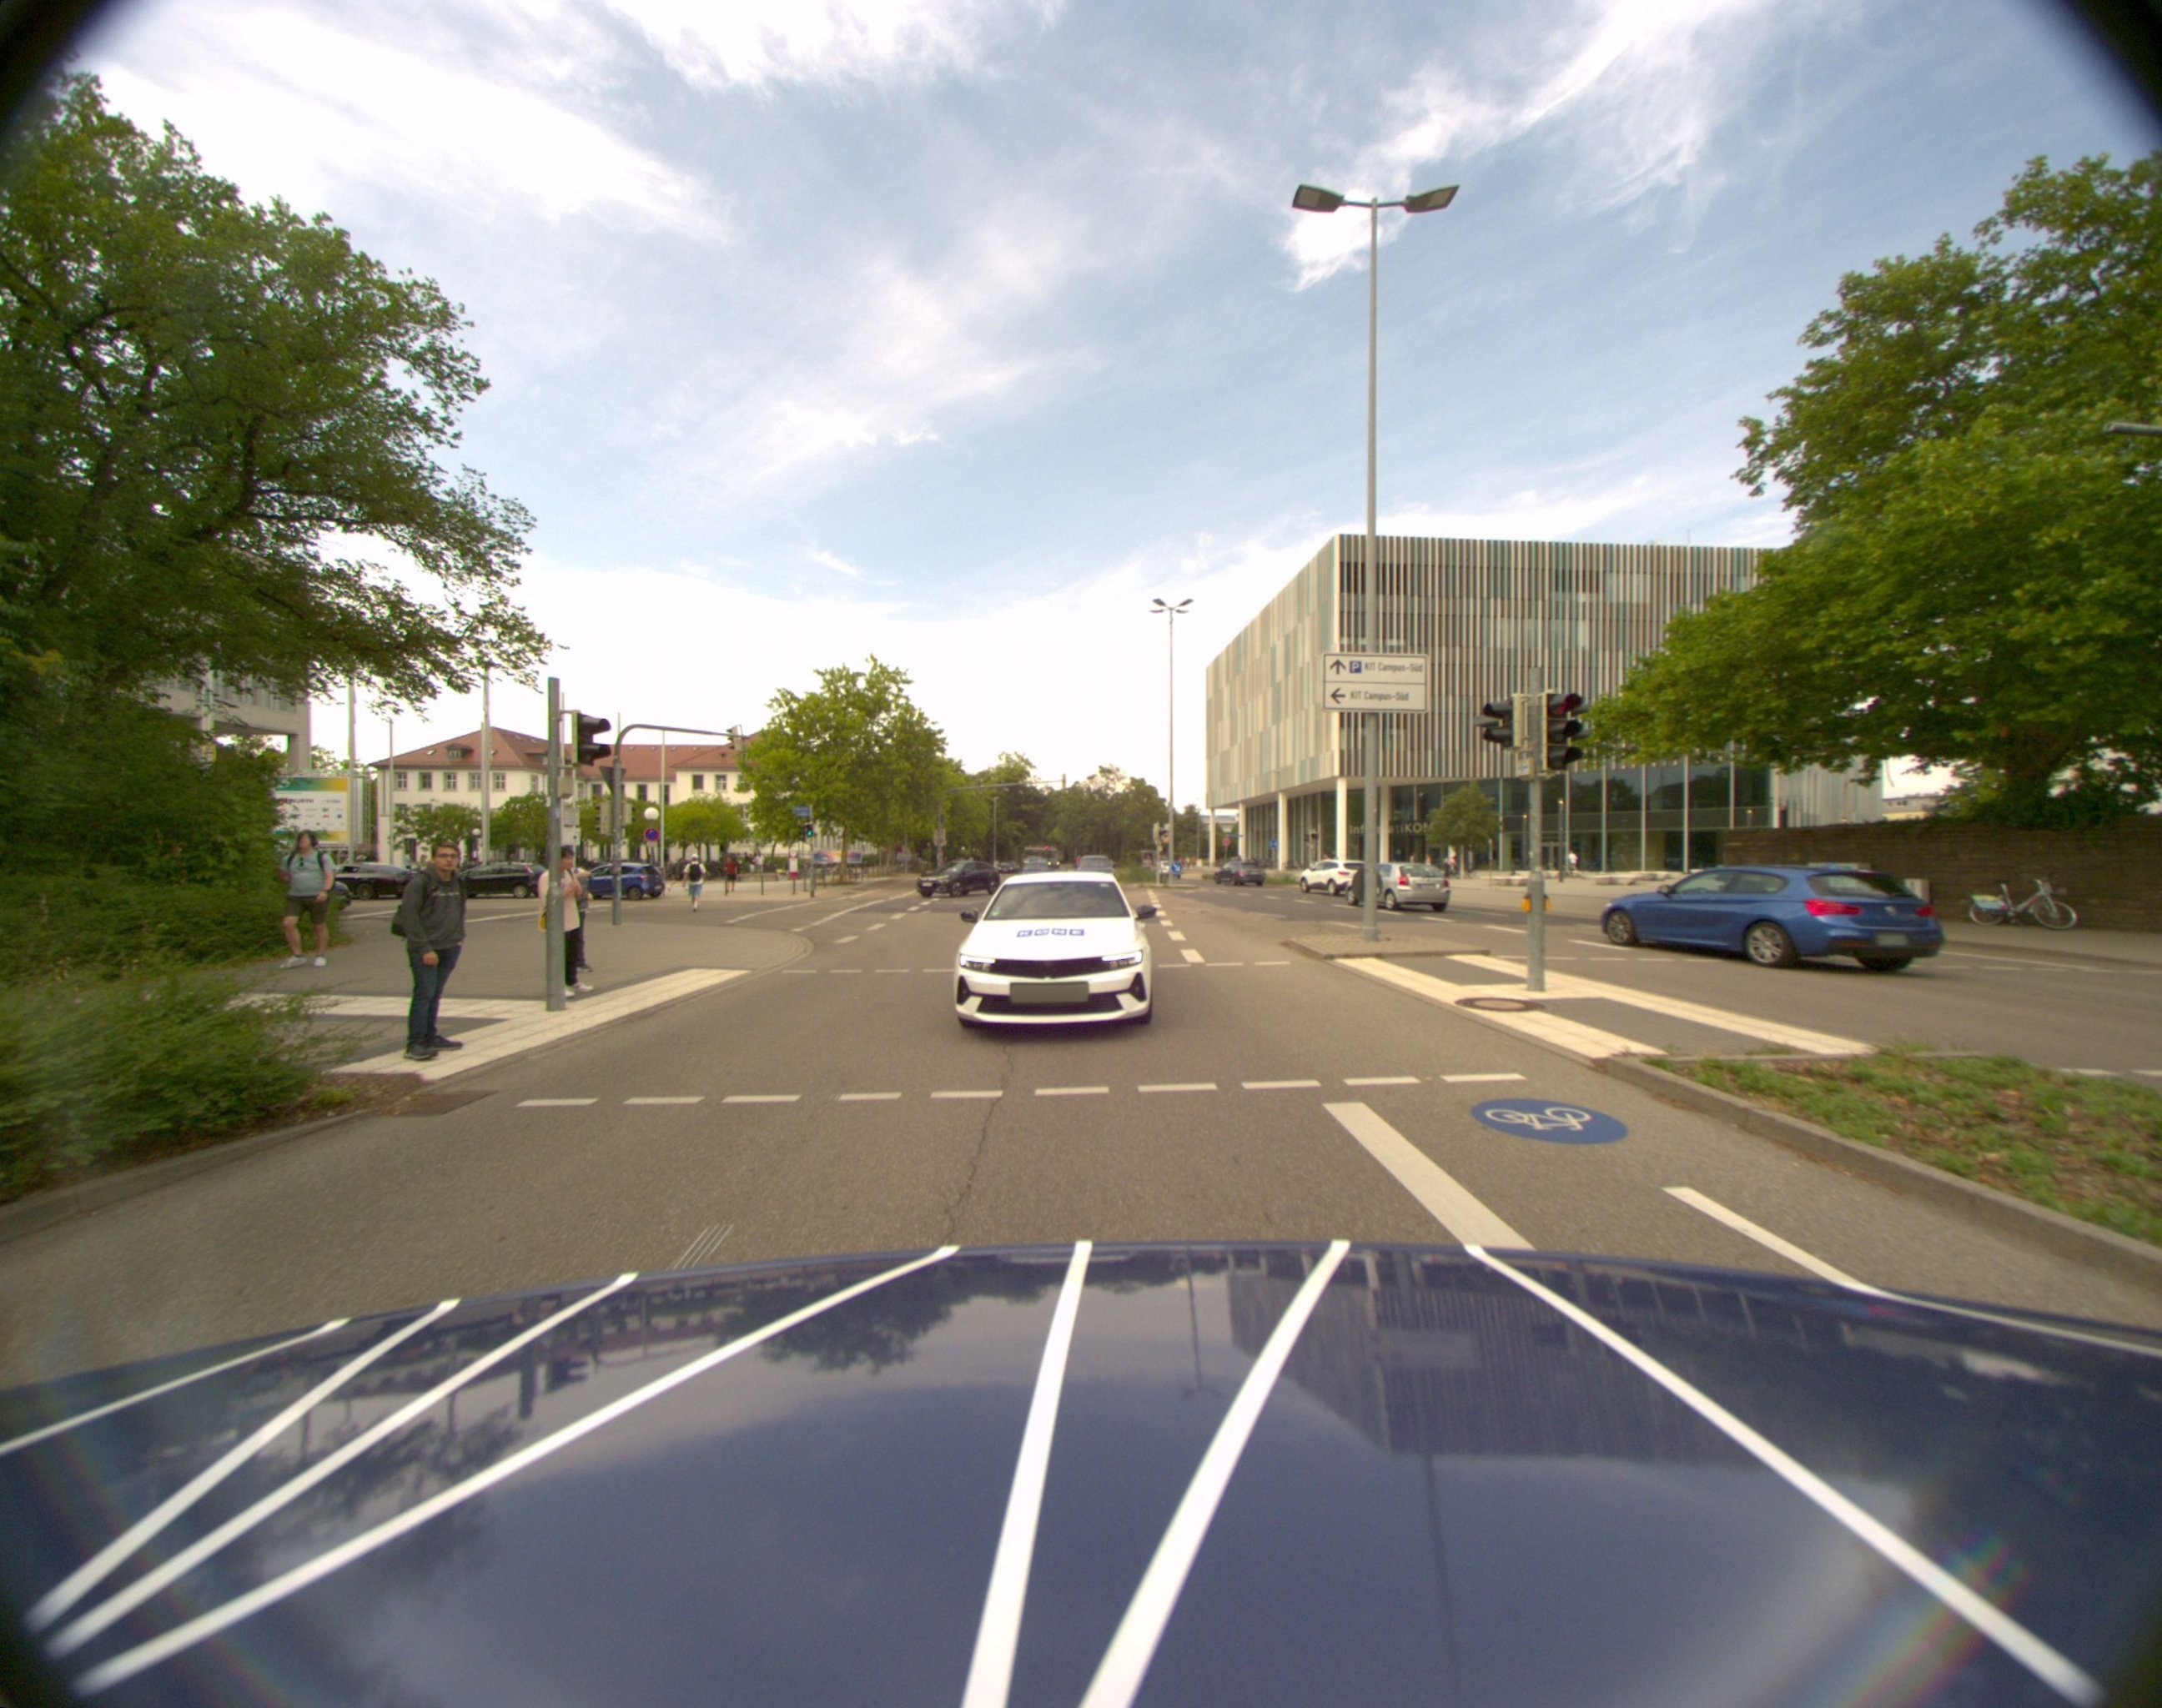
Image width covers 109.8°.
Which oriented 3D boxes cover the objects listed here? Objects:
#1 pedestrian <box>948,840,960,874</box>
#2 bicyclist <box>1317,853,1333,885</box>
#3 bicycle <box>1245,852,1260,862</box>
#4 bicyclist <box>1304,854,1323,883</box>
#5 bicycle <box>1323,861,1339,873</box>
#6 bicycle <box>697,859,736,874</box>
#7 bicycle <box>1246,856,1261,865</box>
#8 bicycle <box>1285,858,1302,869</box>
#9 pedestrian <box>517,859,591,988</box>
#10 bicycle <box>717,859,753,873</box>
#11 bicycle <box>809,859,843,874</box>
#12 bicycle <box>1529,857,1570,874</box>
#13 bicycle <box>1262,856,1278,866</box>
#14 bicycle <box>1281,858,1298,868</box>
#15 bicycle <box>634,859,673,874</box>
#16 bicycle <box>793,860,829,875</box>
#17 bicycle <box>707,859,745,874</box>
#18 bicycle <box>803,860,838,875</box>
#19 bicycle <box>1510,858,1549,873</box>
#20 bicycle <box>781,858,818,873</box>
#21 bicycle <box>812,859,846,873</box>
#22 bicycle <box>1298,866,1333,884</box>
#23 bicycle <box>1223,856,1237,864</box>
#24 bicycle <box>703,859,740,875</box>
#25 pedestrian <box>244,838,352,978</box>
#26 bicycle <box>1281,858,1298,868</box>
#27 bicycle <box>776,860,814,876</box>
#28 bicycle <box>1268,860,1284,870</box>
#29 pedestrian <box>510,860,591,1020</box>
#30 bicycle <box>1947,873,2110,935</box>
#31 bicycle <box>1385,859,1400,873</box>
[{"bbox_3d":[-6.993,0.161,41.829,0.574,1.806,0.681,0,1,-1],"label":"pedestrian"},{"bbox_3d":[13.643,0.830,42.560,0.602,1.796,0.561,-2,1,-17],"label":"bicyclist"},{"bbox_3d":[19.903,0.350,88.197,1.582,1.017,0.389,2,1,-9],"label":"bicycle"},{"bbox_3d":[13.554,0.857,44.322,0.729,1.663,0.722,-2,1,-17],"label":"bicyclist"},{"bbox_3d":[21.165,1.084,64.281,1.614,0.932,0.393,-3,1,-37],"label":"bicycle"},{"bbox_3d":[-27.020,0.930,56.363,2.472,1.136,0.717,0,1,-2],"label":"bicycle"},{"bbox_3d":[19.846,0.751,87.493,1.582,1.017,0.389,-2,1,-9],"label":"bicycle"},{"bbox_3d":[20.615,0.920,73.858,1.546,0.989,0.399,-2,1,-8],"label":"bicycle"},{"bbox_3d":[-7.083,0.913,10.234,0.547,1.677,0.637,0,1,-3],"label":"pedestrian"},{"bbox_3d":[-27.155,0.940,59.624,2.472,1.136,0.717,0,1,-2],"label":"bicycle"},{"bbox_3d":[-20.195,0.971,60.259,2.472,1.136,0.717,0,1,-2],"label":"bicycle"},{"bbox_3d":[31.329,0.741,50.811,2.685,1.083,0.796,0,1,-19],"label":"bicycle"},{"bbox_3d":[20.528,0.719,82.399,1.582,1.017,0.389,-2,1,-9],"label":"bicycle"},{"bbox_3d":[20.610,0.843,75.181,1.546,0.932,0.389,-2,1,-9],"label":"bicycle"},{"bbox_3d":[-32.259,0.940,57.377,2.472,1.136,0.717,0,1,-2],"label":"bicycle"},{"bbox_3d":[-20.789,1.041,58.520,2.472,1.136,0.717,0,1,-2],"label":"bicycle"},{"bbox_3d":[-27.090,0.951,57.991,2.472,1.136,0.717,0,1,-2],"label":"bicycle"},{"bbox_3d":[-20.375,1.042,59.387,2.472,1.136,0.717,0,1,-2],"label":"bicycle"},{"bbox_3d":[30.619,0.790,51.896,2.685,0.993,0.672,0,1,-19],"label":"bicycle"},{"bbox_3d":[-20.821,0.843,56.294,2.472,1.136,0.717,0,1,-2],"label":"bicycle"},{"bbox_3d":[-20.221,0.960,61.091,2.472,1.136,0.717,0,1,-2],"label":"bicycle"},{"bbox_3d":[13.685,1.204,44.366,1.824,0.983,0.727,-2,1,-17],"label":"bicycle"},{"bbox_3d":[19.180,0.765,97.765,1.704,1.017,0.434,-2,1,-9],"label":"bicycle"},{"bbox_3d":[-27.053,0.959,57.195,2.472,1.136,0.717,0,1,-2],"label":"bicycle"},{"bbox_3d":[-10.342,0.692,10.062,0.646,1.785,0.740,0,1,-3],"label":"pedestrian"},{"bbox_3d":[20.475,0.857,74.621,1.546,0.932,0.394,-2,1,-9],"label":"bicycle"},{"bbox_3d":[-20.764,0.995,55.121,2.472,1.136,0.717,0,1,-2],"label":"bicycle"},{"bbox_3d":[20.566,1.125,80.111,1.582,1.017,0.389,-2,1,-9],"label":"bicycle"},{"bbox_3d":[-5.947,0.929,8.536,0.455,1.725,0.637,0,1,-3],"label":"pedestrian"},{"bbox_3d":[19.796,1.007,15.959,0.579,1.119,2.164,-3,0,-5],"label":"bicycle"},{"bbox_3d":[24.471,0.951,59.609,1.549,1.023,0.393,-3,1,-41],"label":"bicycle"}]
